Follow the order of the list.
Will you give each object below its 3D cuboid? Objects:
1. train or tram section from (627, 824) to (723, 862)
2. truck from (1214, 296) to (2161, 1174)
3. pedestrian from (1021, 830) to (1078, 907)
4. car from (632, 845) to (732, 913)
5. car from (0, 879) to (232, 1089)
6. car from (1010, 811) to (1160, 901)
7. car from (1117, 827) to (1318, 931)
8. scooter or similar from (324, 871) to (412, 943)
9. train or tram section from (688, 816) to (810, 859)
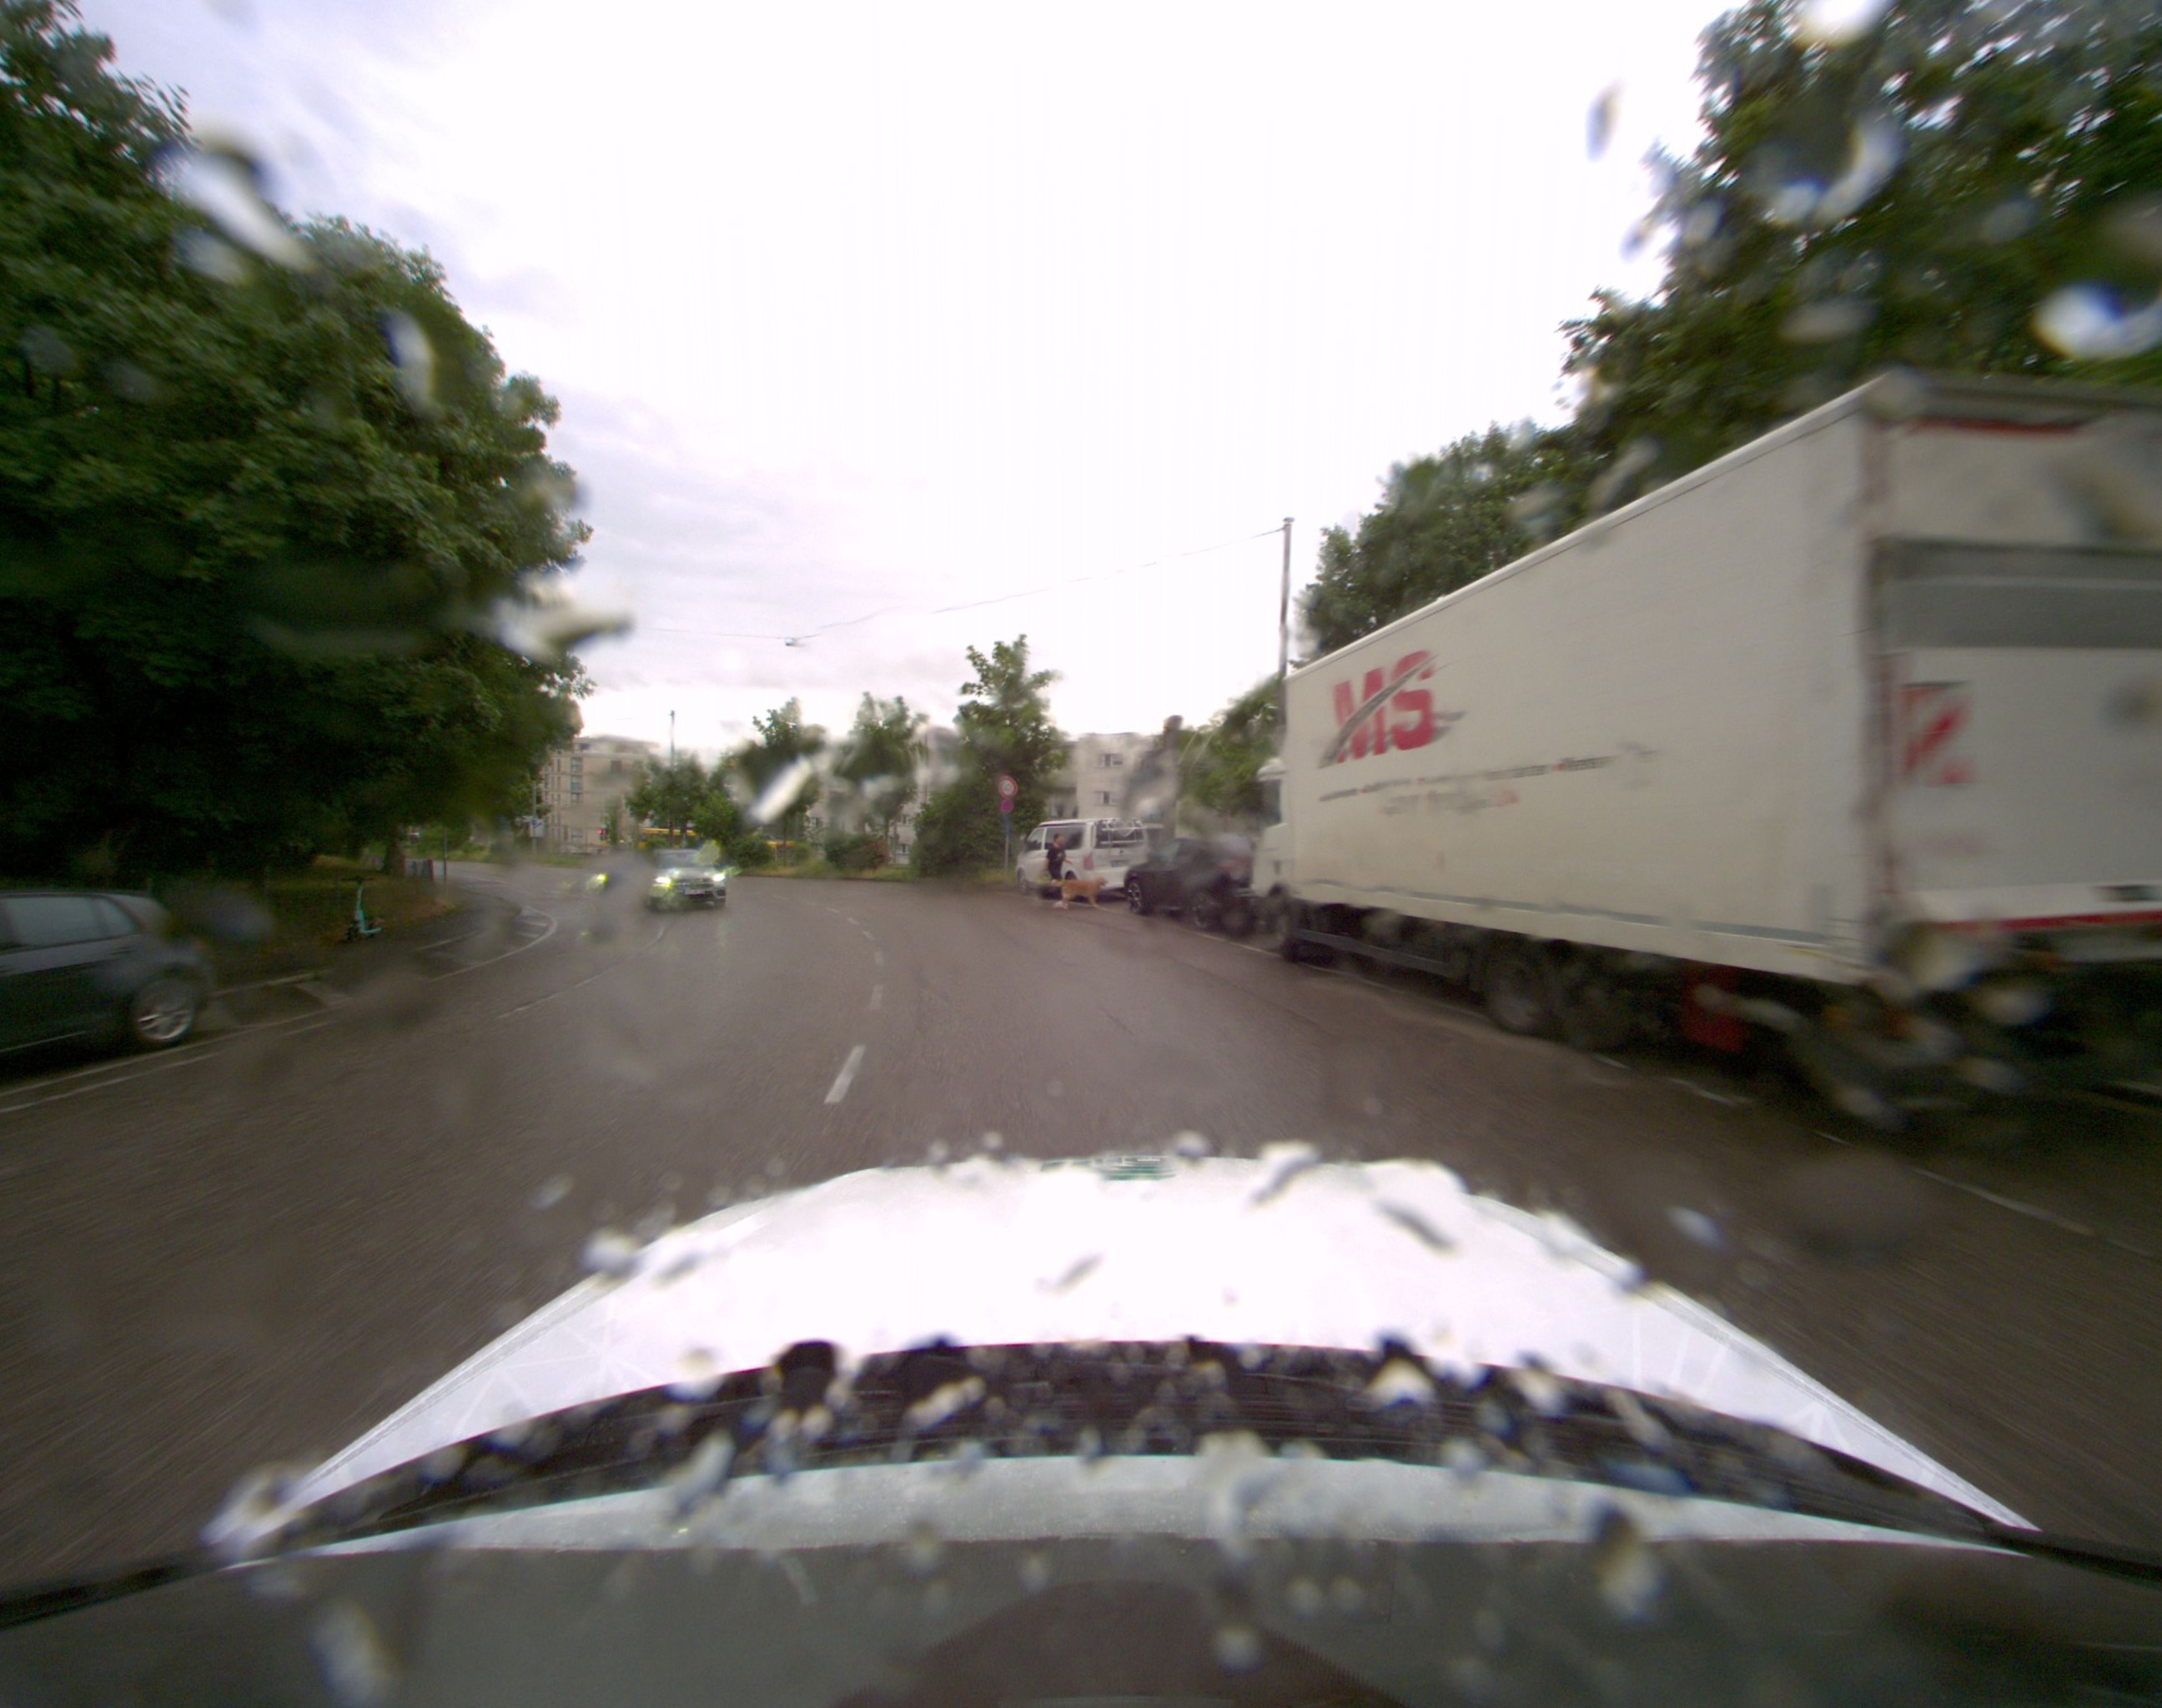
[{"bbox_3d":[-47.016,-1.238,93.725,18.575,3.947,3.362,0,1,42],"label":"train or tram section"},{"bbox_3d":[4.046,-0.516,7.685,3.007,3.574,8.309,-1,0,-10],"label":"truck"},{"bbox_3d":[-0.714,0.316,18.452,0.913,1.661,0.810,0,3,41],"label":"pedestrian"},{"bbox_3d":[-11.449,0.632,23.215,1.832,1.669,4.263,-3,2,-36],"label":"car"},{"bbox_3d":[-8.576,0.972,5.496,1.772,1.443,4.005,-1,0,-7],"label":"car"},{"bbox_3d":[-0.050,-0.004,20.725,1.887,2.013,4.650,-2,1,-27],"label":"car"},{"bbox_3d":[2.299,0.359,14.944,1.724,1.555,4.247,-3,1,-21],"label":"car"},{"bbox_3d":[-13.641,0.986,15.632,0.609,1.268,1.431,3,-1,-13],"label":"scooter or similar"},{"bbox_3d":[-33.673,-1.572,81.597,19.037,3.947,3.362,0,1,42],"label":"train or tram section"}]
